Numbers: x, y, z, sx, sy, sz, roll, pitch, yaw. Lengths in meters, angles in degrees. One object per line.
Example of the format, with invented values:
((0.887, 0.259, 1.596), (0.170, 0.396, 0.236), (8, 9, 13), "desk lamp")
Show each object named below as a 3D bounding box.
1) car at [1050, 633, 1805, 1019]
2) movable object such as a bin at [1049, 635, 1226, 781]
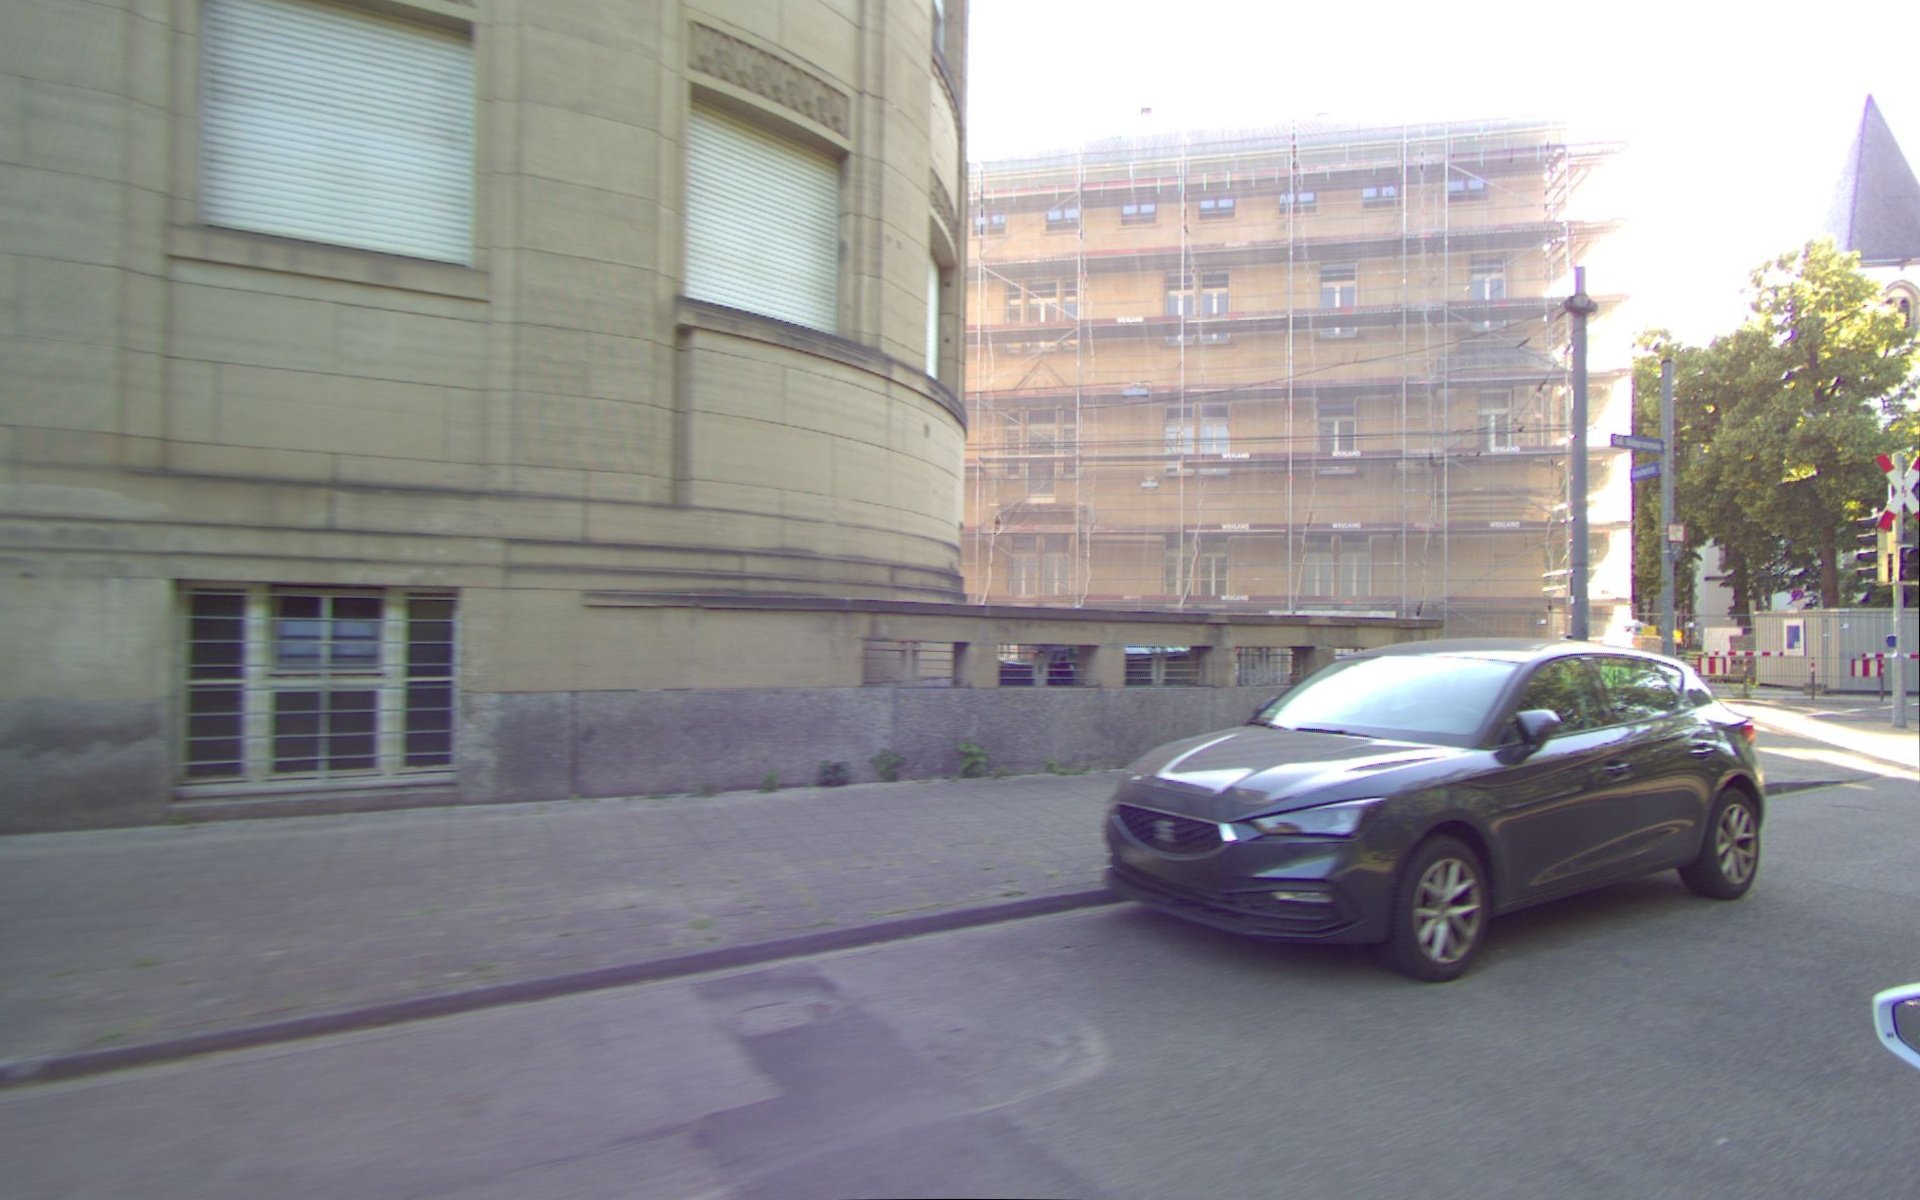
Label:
((2.712, 0.942, 5.633), (4.157, 1.467, 1.736), (2, -2, -29), "car")
((1.961, 1.149, 11.233), (1.602, 1.505, 1.145), (1, -2, -19), "movable object such as a bin")
